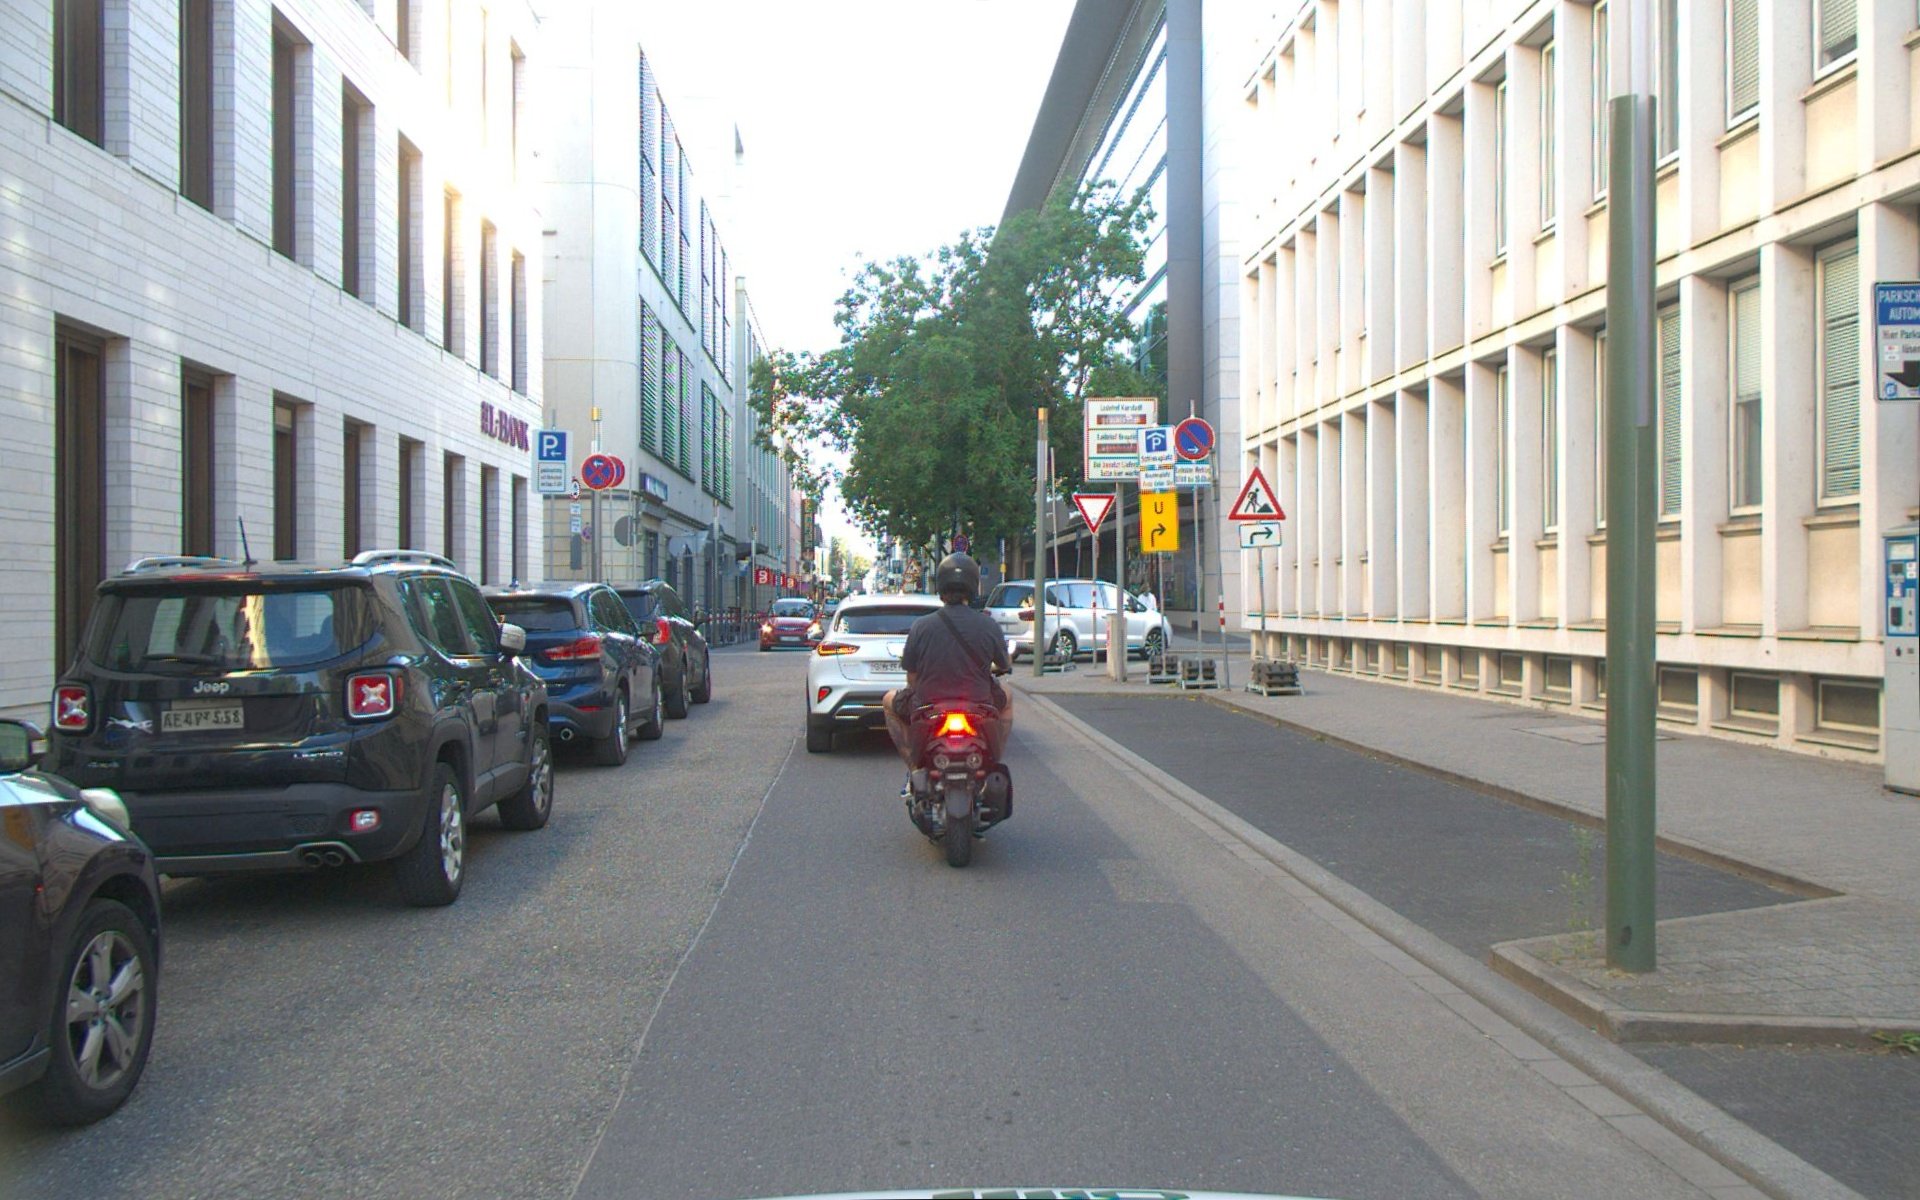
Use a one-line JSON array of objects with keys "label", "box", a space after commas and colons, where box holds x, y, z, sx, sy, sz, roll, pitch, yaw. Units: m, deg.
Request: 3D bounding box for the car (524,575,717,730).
[{"label": "car", "box": [-4.239, 0.582, 21.277, 1.786, 1.707, 4.260, -3, 1, -4]}]

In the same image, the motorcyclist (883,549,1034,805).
[{"label": "motorcyclist", "box": [-0.015, 0.439, 9.624, 0.849, 1.452, 0.455, 0, -1, -3]}]

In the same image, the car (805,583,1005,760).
[{"label": "car", "box": [-0.638, 0.621, 17.021, 1.786, 1.568, 4.260, 0, 1, -4]}]

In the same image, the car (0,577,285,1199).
[{"label": "car", "box": [-3.178, 0.737, 3.751, 1.786, 1.568, 4.260, 0, 0, -4]}]

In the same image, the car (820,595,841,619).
[{"label": "car", "box": [-12.996, 0.678, 165.974, 1.955, 2.370, 5.015, 1, 0, -5]}]

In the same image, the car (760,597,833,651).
[{"label": "car", "box": [-4.748, 0.736, 48.447, 1.785, 1.491, 4.262, 0, -2, -1]}]

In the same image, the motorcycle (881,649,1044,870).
[{"label": "motorcycle", "box": [-0.019, 0.868, 9.640, 0.855, 1.129, 1.839, 0, -1, -2]}]

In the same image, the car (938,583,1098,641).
[{"label": "car", "box": [1.861, 0.377, 53.748, 4.909, 1.477, 1.998, -4, 0, -6]}]

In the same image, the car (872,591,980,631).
[{"label": "car", "box": [-1.632, 0.533, 78.386, 4.909, 1.525, 1.998, -4, 0, -6]}]

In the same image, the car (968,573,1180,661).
[{"label": "car", "box": [2.455, 0.342, 34.931, 4.452, 1.674, 1.802, 1, 2, -40]}]

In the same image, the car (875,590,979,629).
[{"label": "car", "box": [-1.635, 0.455, 80.859, 4.909, 1.525, 1.998, -4, 0, -6]}]

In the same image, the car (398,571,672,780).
[{"label": "car", "box": [-3.826, 0.593, 15.578, 1.705, 1.622, 4.150, -3, 1, -4]}]

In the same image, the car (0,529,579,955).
[{"label": "car", "box": [-3.372, 0.585, 9.134, 1.786, 1.744, 4.014, -3, 1, -4]}]

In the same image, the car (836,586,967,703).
[{"label": "car", "box": [-0.973, 0.609, 25.530, 1.786, 1.568, 4.361, -3, 1, -4]}]

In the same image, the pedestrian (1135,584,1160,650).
[{"label": "pedestrian", "box": [4.631, 0.423, 40.910, 0.548, 1.611, 0.598, 0, -1, -1]}]

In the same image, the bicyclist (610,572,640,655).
[{"label": "bicyclist", "box": [-7.229, 0.293, 35.688, 0.543, 1.762, 0.497, 1, -1, -24]}]
